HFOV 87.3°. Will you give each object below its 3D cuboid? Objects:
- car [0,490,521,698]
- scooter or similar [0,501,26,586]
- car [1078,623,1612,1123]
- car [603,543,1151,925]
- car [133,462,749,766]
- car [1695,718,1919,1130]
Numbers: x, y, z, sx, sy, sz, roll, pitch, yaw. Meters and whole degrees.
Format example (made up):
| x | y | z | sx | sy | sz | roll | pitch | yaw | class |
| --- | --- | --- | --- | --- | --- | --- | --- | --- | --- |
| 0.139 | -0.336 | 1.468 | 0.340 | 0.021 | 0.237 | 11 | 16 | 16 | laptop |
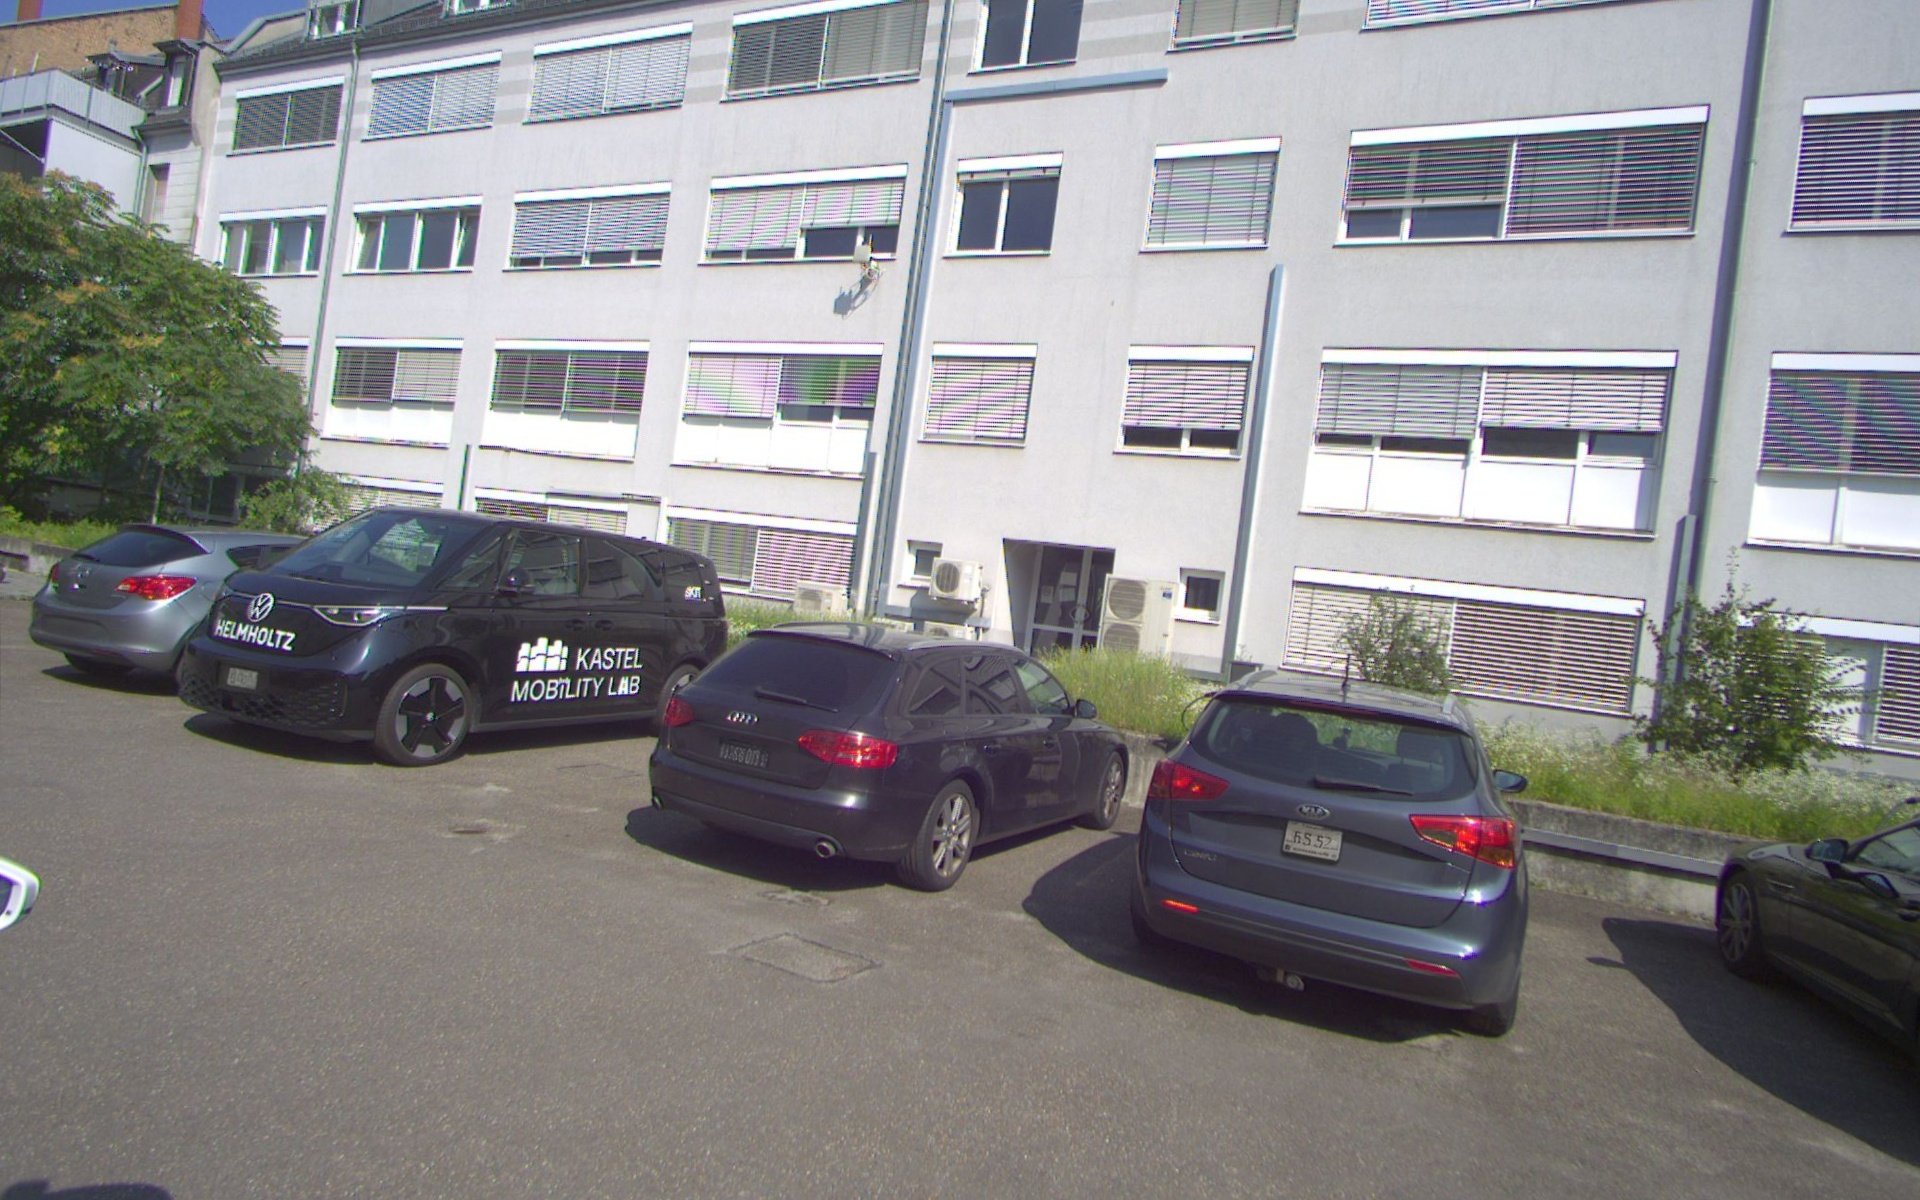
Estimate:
| x | y | z | sx | sy | sz | roll | pitch | yaw | class |
| --- | --- | --- | --- | --- | --- | --- | --- | --- | --- |
| -6.566 | 0.054 | 9.888 | 1.742 | 1.499 | 3.946 | 6 | -1 | 21 | car |
| -15.195 | -0.942 | 15.378 | 1.324 | 1.276 | 0.379 | 7 | 0 | -2 | scooter or similar |
| 2.259 | 1.172 | 5.799 | 1.846 | 1.607 | 3.875 | 7 | -2 | 25 | car |
| -0.193 | 0.809 | 7.053 | 1.740 | 1.711 | 4.129 | 7 | -2 | 28 | car |
| -3.959 | 0.197 | 8.723 | 1.848 | 1.815 | 4.516 | 6 | -1 | 21 | car |
| 5.137 | 1.520 | 4.514 | 1.862 | 1.607 | 3.814 | 7 | -2 | 21 | car |
